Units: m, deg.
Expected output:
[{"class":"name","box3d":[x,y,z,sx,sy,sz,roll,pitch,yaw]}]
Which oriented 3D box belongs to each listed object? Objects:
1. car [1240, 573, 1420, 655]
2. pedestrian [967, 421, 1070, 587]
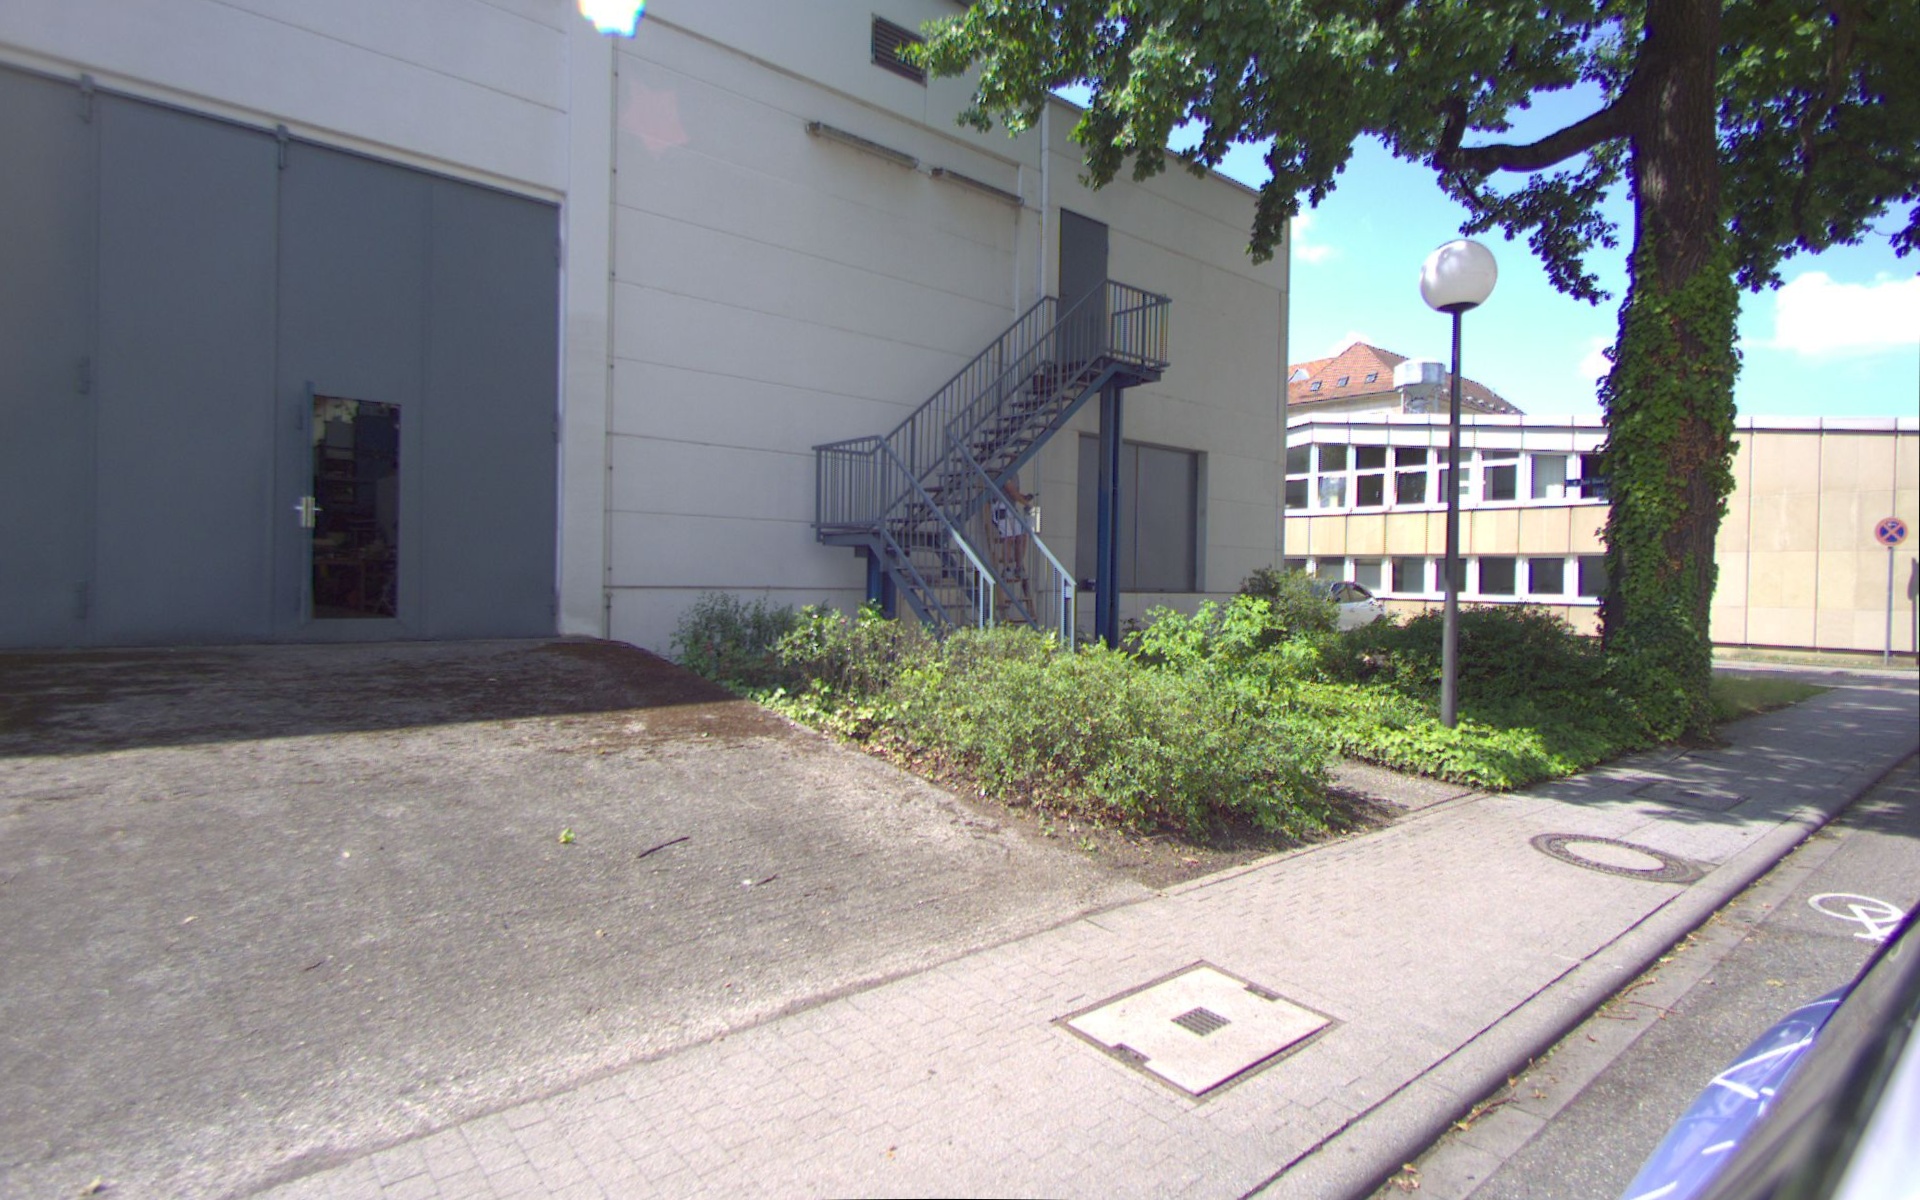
[{"class":"car","box3d":[7.614,0.227,20.666,4.109,1.495,1.670,0,2,-41]},{"class":"pedestrian","box3d":[0.753,-1.199,13.100,0.932,2.038,0.930,0,1,-37]}]
